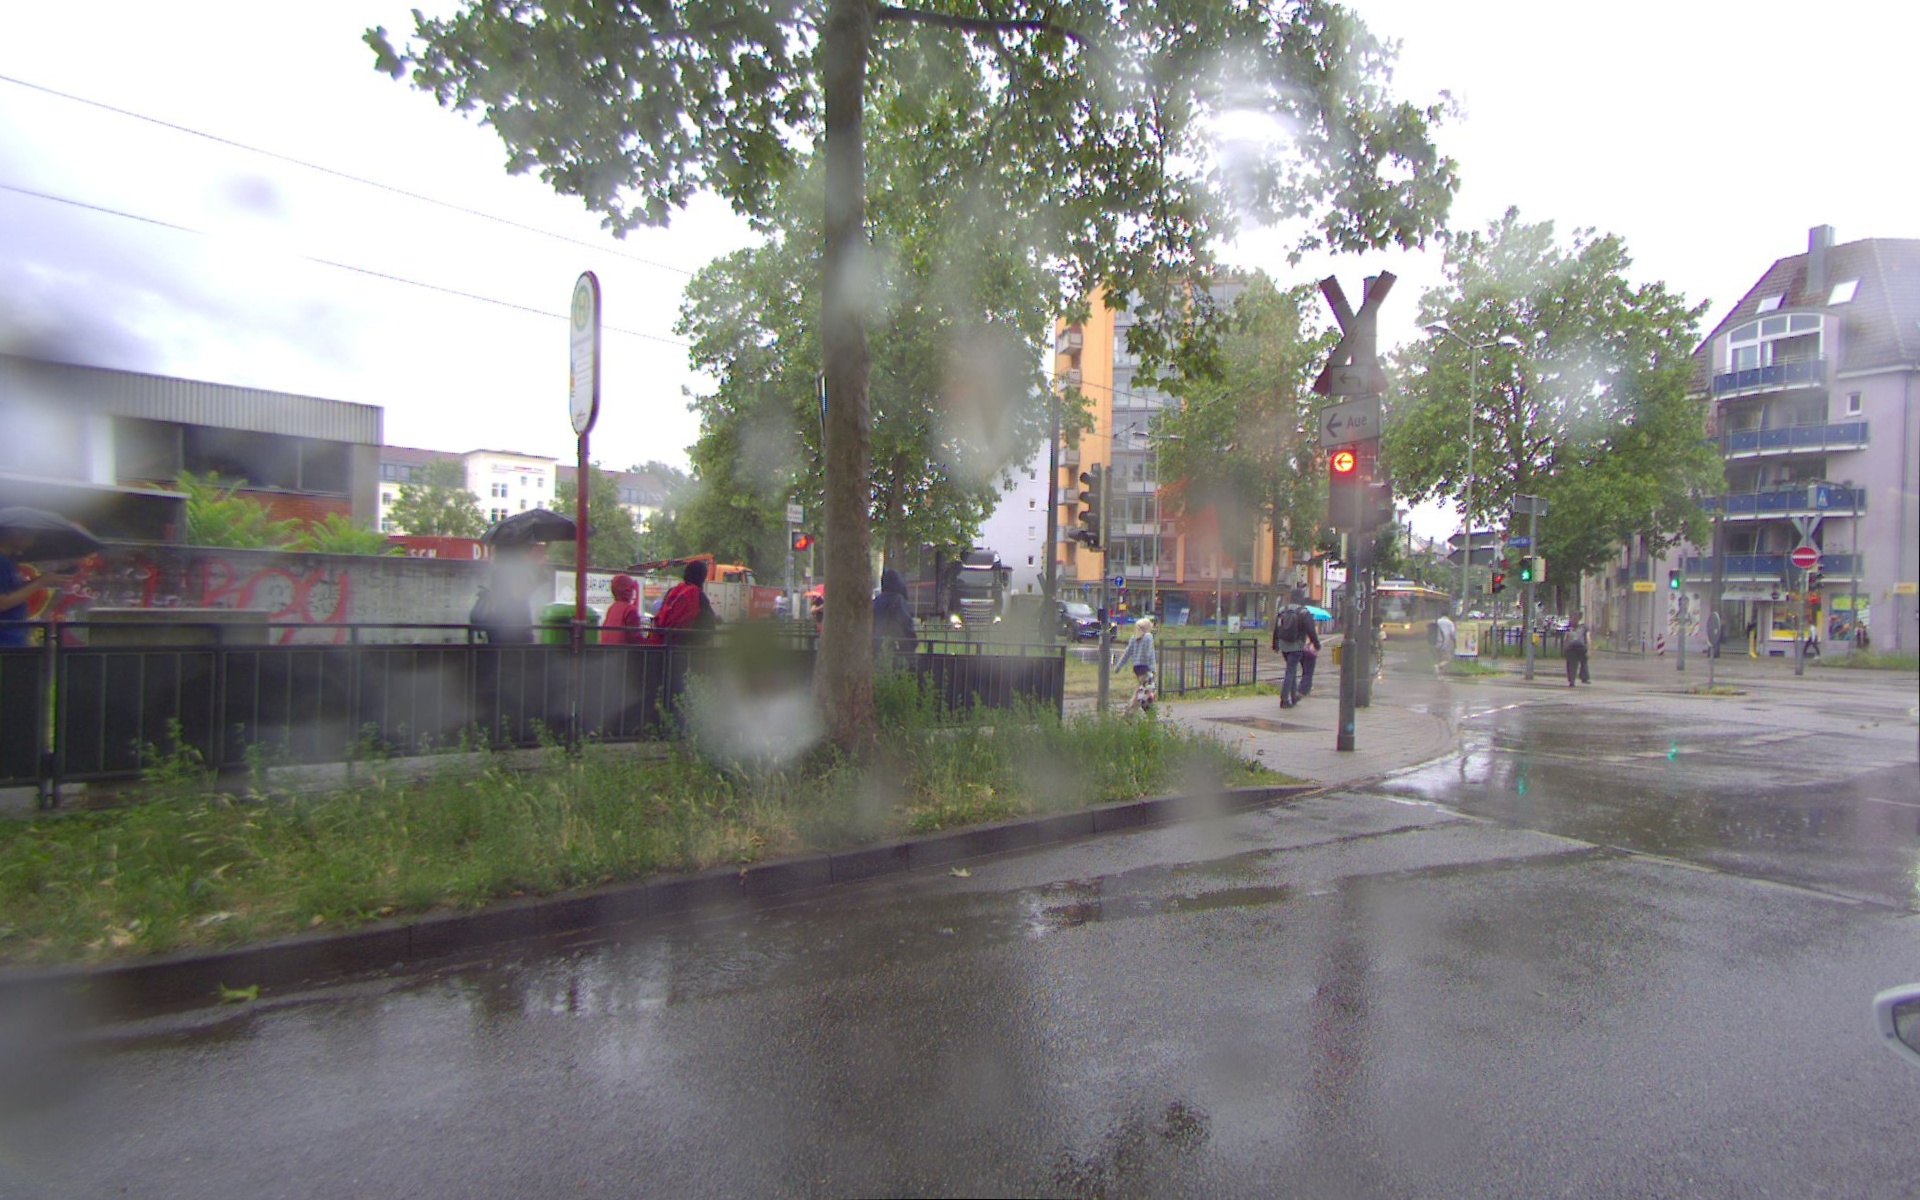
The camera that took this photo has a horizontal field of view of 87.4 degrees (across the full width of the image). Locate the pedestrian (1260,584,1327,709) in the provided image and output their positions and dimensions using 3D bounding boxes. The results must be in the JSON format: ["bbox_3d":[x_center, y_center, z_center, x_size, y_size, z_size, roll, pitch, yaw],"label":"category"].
[{"bbox_3d":[5.211,0.708,15.691,0.777,1.880,0.679,2,1,37],"label":"pedestrian"}]

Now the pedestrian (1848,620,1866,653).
[{"bbox_3d":[37.506,1.539,42.000,0.556,1.347,0.441,2,0,-34],"label":"pedestrian"}]

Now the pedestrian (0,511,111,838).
[{"bbox_3d":[-5.798,0.427,6.139,0.885,1.889,0.861,1,1,-42],"label":"pedestrian"}]

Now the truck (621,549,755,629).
[{"bbox_3d":[-11.758,-0.432,43.602,5.383,3.205,2.164,2,0,-16],"label":"truck"}]

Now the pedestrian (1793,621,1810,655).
[{"bbox_3d":[36.495,1.641,43.569,0.557,1.477,0.440,2,0,-39],"label":"pedestrian"}]

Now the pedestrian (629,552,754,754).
[{"bbox_3d":[-2.334,0.433,8.732,0.811,1.646,0.722,0,0,-42],"label":"pedestrian"}]

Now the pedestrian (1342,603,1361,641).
[{"bbox_3d":[23.029,1.295,59.140,0.871,2.179,0.910,2,0,29],"label":"pedestrian"}]

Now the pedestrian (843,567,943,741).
[{"bbox_3d":[-0.676,0.540,10.357,0.823,1.722,0.689,-1,0,17],"label":"pedestrian"}]

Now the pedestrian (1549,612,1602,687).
[{"bbox_3d":[13.233,1.051,21.597,0.785,1.553,0.743,2,0,-41],"label":"pedestrian"}]

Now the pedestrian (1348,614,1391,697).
[{"bbox_3d":[7.276,0.964,17.827,0.638,1.414,0.782,1,0,26],"label":"pedestrian"}]

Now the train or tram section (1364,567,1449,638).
[{"bbox_3d":[27.709,0.278,61.691,2.839,3.818,17.211,2,0,30],"label":"train or tram section"}]

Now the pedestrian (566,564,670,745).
[{"bbox_3d":[-3.081,0.468,9.051,0.654,1.540,0.675,1,0,-42],"label":"pedestrian"}]

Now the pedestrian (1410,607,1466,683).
[{"bbox_3d":[10.613,0.994,22.301,0.956,1.622,0.670,2,0,-30],"label":"pedestrian"}]

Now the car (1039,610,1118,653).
[{"bbox_3d":[4.715,1.232,40.443,1.585,1.551,4.017,1,1,-19],"label":"car"}]

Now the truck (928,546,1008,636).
[{"bbox_3d":[0.282,-0.396,46.054,2.593,3.842,4.444,2,0,-13],"label":"truck"}]

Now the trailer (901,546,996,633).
[{"bbox_3d":[-0.811,-0.471,50.745,2.593,3.899,10.114,2,0,-13],"label":"trailer"}]

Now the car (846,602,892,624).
[{"bbox_3d":[-8.244,1.162,90.933,3.930,1.808,1.996,2,0,-12],"label":"car"}]

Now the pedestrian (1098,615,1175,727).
[{"bbox_3d":[2.266,0.886,12.898,0.704,1.367,0.650,1,1,-44],"label":"pedestrian"}]

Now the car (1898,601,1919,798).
[{"bbox_3d":[10.007,0.860,8.655,4.187,1.613,1.742,1,0,-31],"label":"car"}]

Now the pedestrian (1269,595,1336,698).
[{"bbox_3d":[6.232,0.819,18.261,0.943,1.789,0.951,2,0,31],"label":"pedestrian"}]

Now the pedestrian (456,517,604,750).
[{"bbox_3d":[-3.327,0.257,7.800,0.783,1.705,0.659,-2,0,23],"label":"pedestrian"}]
